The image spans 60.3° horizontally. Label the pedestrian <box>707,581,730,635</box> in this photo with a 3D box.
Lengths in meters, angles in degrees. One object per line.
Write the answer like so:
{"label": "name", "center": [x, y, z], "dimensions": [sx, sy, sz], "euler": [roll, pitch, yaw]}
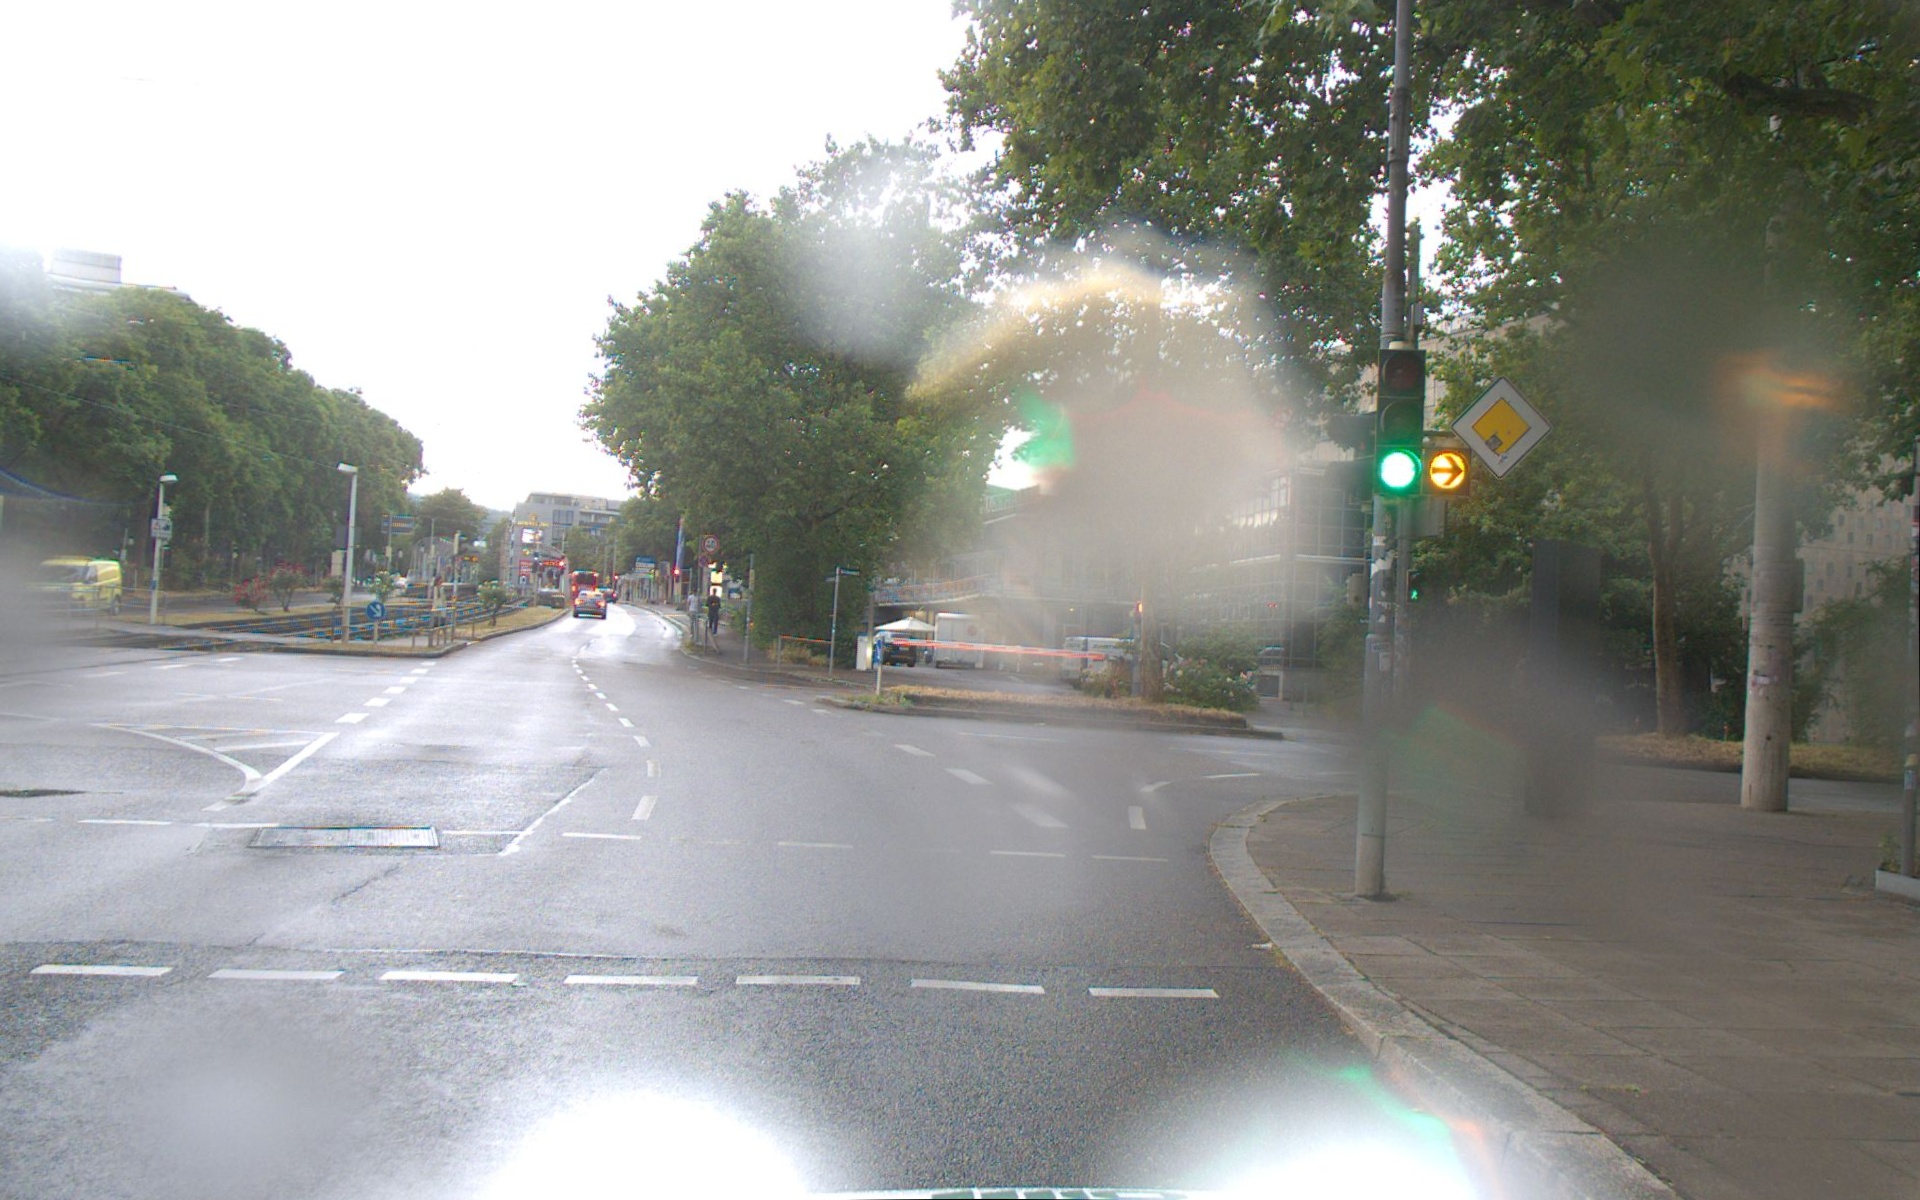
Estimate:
{"label": "pedestrian", "center": [-9.366, 0.312, 64.194], "dimensions": [0.858, 2.049, 1.075], "euler": [1, -1, -8]}

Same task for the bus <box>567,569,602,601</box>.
{"label": "bus", "center": [-39.921, -1.519, 175.841], "dimensions": [3.528, 3.227, 10.384], "euler": [1, 0, -13]}

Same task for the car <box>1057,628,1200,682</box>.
{"label": "car", "center": [6.361, 2.080, 62.284], "dimensions": [5.135, 1.761, 1.859], "euler": [3, 0, -26]}

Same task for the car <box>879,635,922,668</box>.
{"label": "car", "center": [-3.134, 2.715, 87.871], "dimensions": [1.978, 1.578, 4.351], "euler": [3, 0, 1]}

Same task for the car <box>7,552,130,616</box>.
{"label": "car", "center": [-28.378, -0.458, 52.803], "dimensions": [1.884, 1.883, 4.558], "euler": [2, -1, -8]}

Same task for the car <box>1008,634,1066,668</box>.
{"label": "car", "center": [4.115, 2.733, 89.249], "dimensions": [1.985, 1.578, 4.336], "euler": [3, 0, -13]}

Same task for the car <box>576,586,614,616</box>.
{"label": "car", "center": [-20.118, 0.056, 91.313], "dimensions": [1.958, 1.545, 4.338], "euler": [1, 0, -12]}

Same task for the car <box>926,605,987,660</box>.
{"label": "car", "center": [-0.240, 1.729, 91.416], "dimensions": [2.678, 2.742, 6.915], "euler": [3, 0, -5]}

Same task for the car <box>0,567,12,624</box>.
{"label": "car", "center": [-27.220, -0.177, 44.270], "dimensions": [1.884, 1.573, 3.674], "euler": [2, -1, -8]}

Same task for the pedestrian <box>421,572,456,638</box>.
{"label": "pedestrian", "center": [-15.124, 0.138, 47.970], "dimensions": [0.855, 1.834, 0.864], "euler": [3, -1, -16]}

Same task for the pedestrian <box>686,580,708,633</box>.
{"label": "pedestrian", "center": [-10.170, 0.253, 63.951], "dimensions": [0.799, 2.049, 1.075], "euler": [1, -1, -8]}

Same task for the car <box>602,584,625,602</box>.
{"label": "car", "center": [-37.892, -0.772, 180.843], "dimensions": [2.322, 1.848, 5.165], "euler": [1, 0, -13]}
